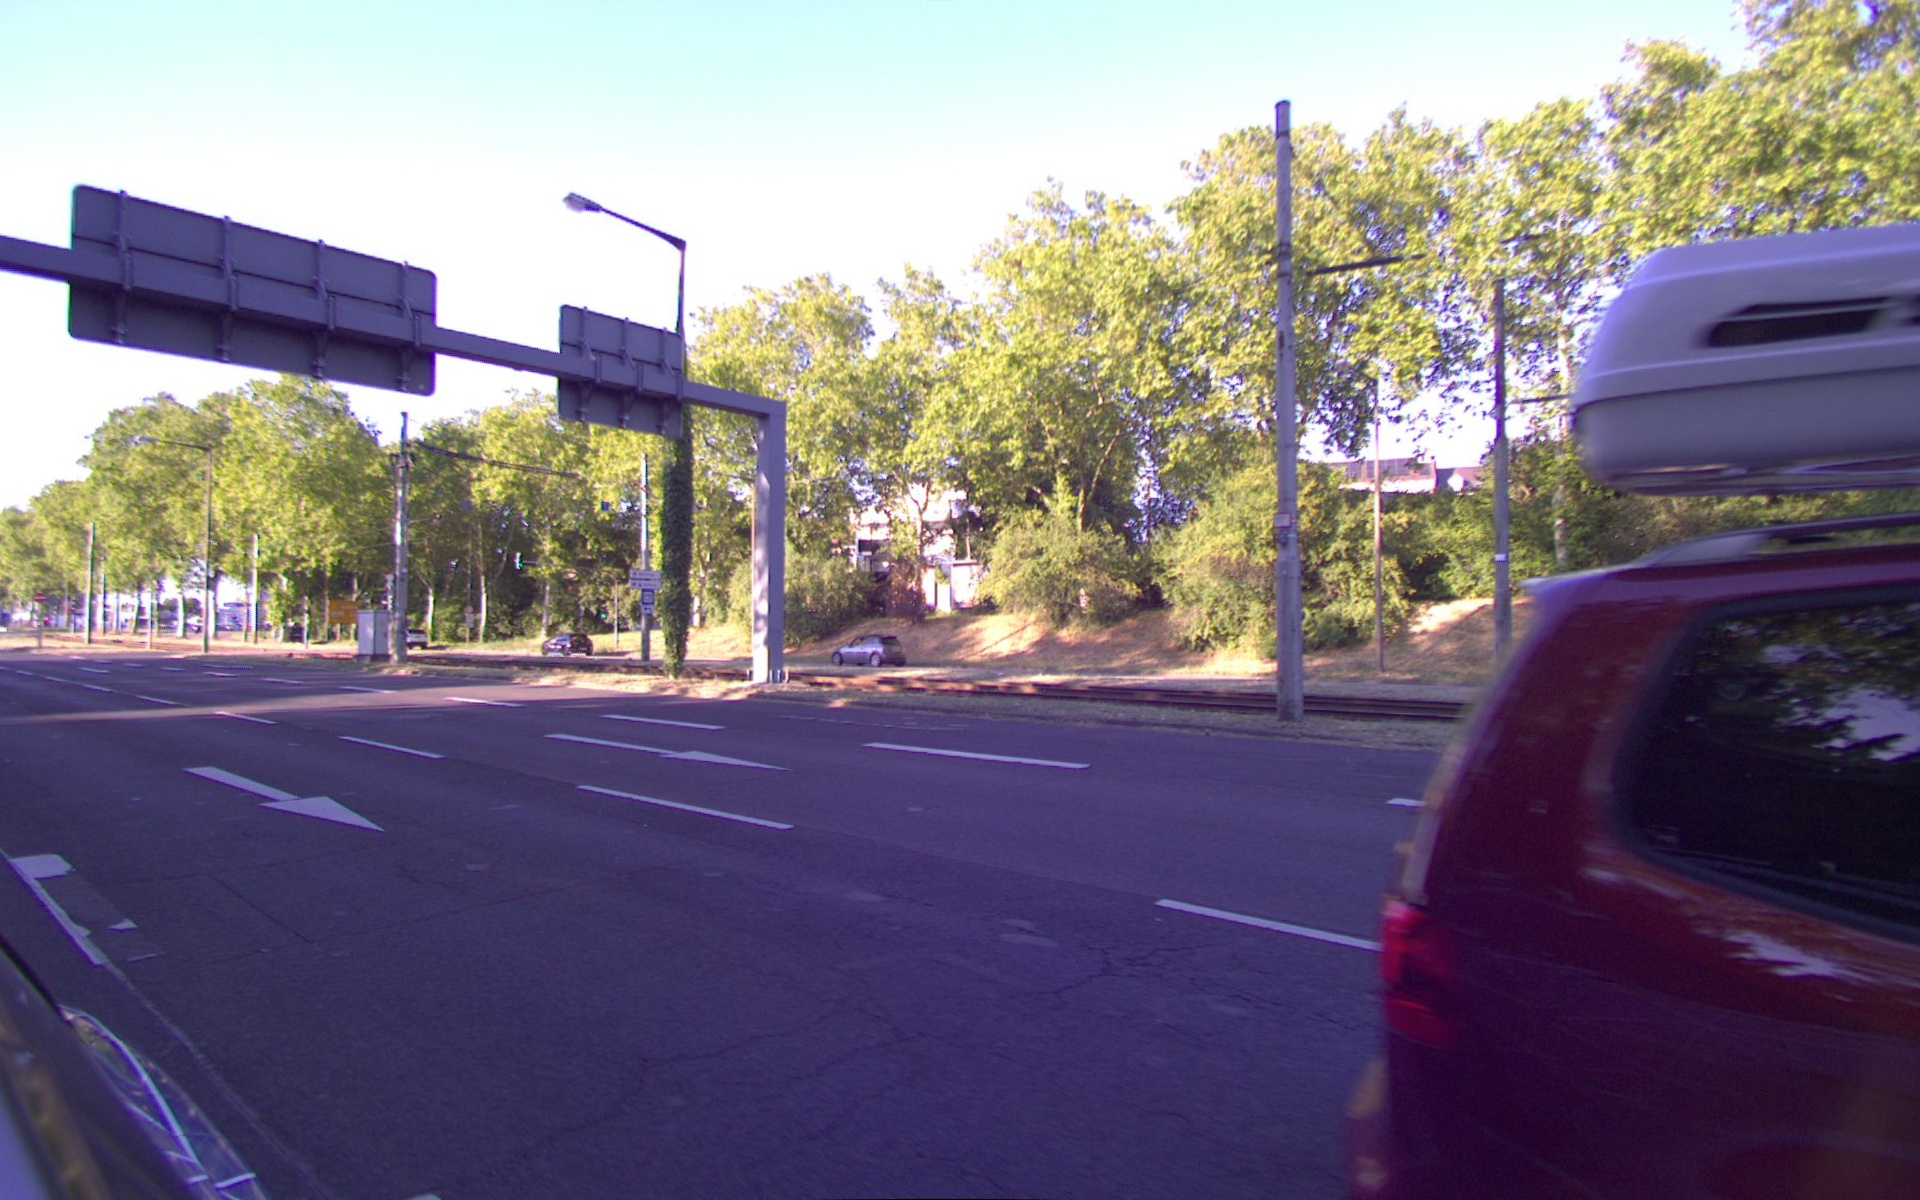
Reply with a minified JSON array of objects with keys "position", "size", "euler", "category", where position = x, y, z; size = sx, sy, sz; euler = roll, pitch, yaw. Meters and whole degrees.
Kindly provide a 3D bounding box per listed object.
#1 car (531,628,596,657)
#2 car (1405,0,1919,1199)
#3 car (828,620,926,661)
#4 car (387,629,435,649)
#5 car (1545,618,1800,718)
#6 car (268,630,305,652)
[{"position":[-24.182,2.596,61.645],"size":[4.190,1.694,1.972],"euler":[-2,-4,42],"category":"car"},{"position":[2.741,0.355,0.838],"size":[3.998,2.121,1.773],"euler":[-2,-4,41],"category":"car"},{"position":[-3.705,1.803,44.821],"size":[4.188,1.694,1.973],"euler":[-2,-4,41],"category":"car"},{"position":[-43.468,3.091,80.137],"size":[4.188,1.452,1.973],"euler":[-2,-4,41],"category":"car"},{"position":[15.938,1.492,22.821],"size":[4.506,2.029,1.901],"euler":[-2,-4,38],"category":"car"},{"position":[-64.640,3.936,97.126],"size":[4.190,2.082,1.972],"euler":[-2,-4,42],"category":"car"}]
